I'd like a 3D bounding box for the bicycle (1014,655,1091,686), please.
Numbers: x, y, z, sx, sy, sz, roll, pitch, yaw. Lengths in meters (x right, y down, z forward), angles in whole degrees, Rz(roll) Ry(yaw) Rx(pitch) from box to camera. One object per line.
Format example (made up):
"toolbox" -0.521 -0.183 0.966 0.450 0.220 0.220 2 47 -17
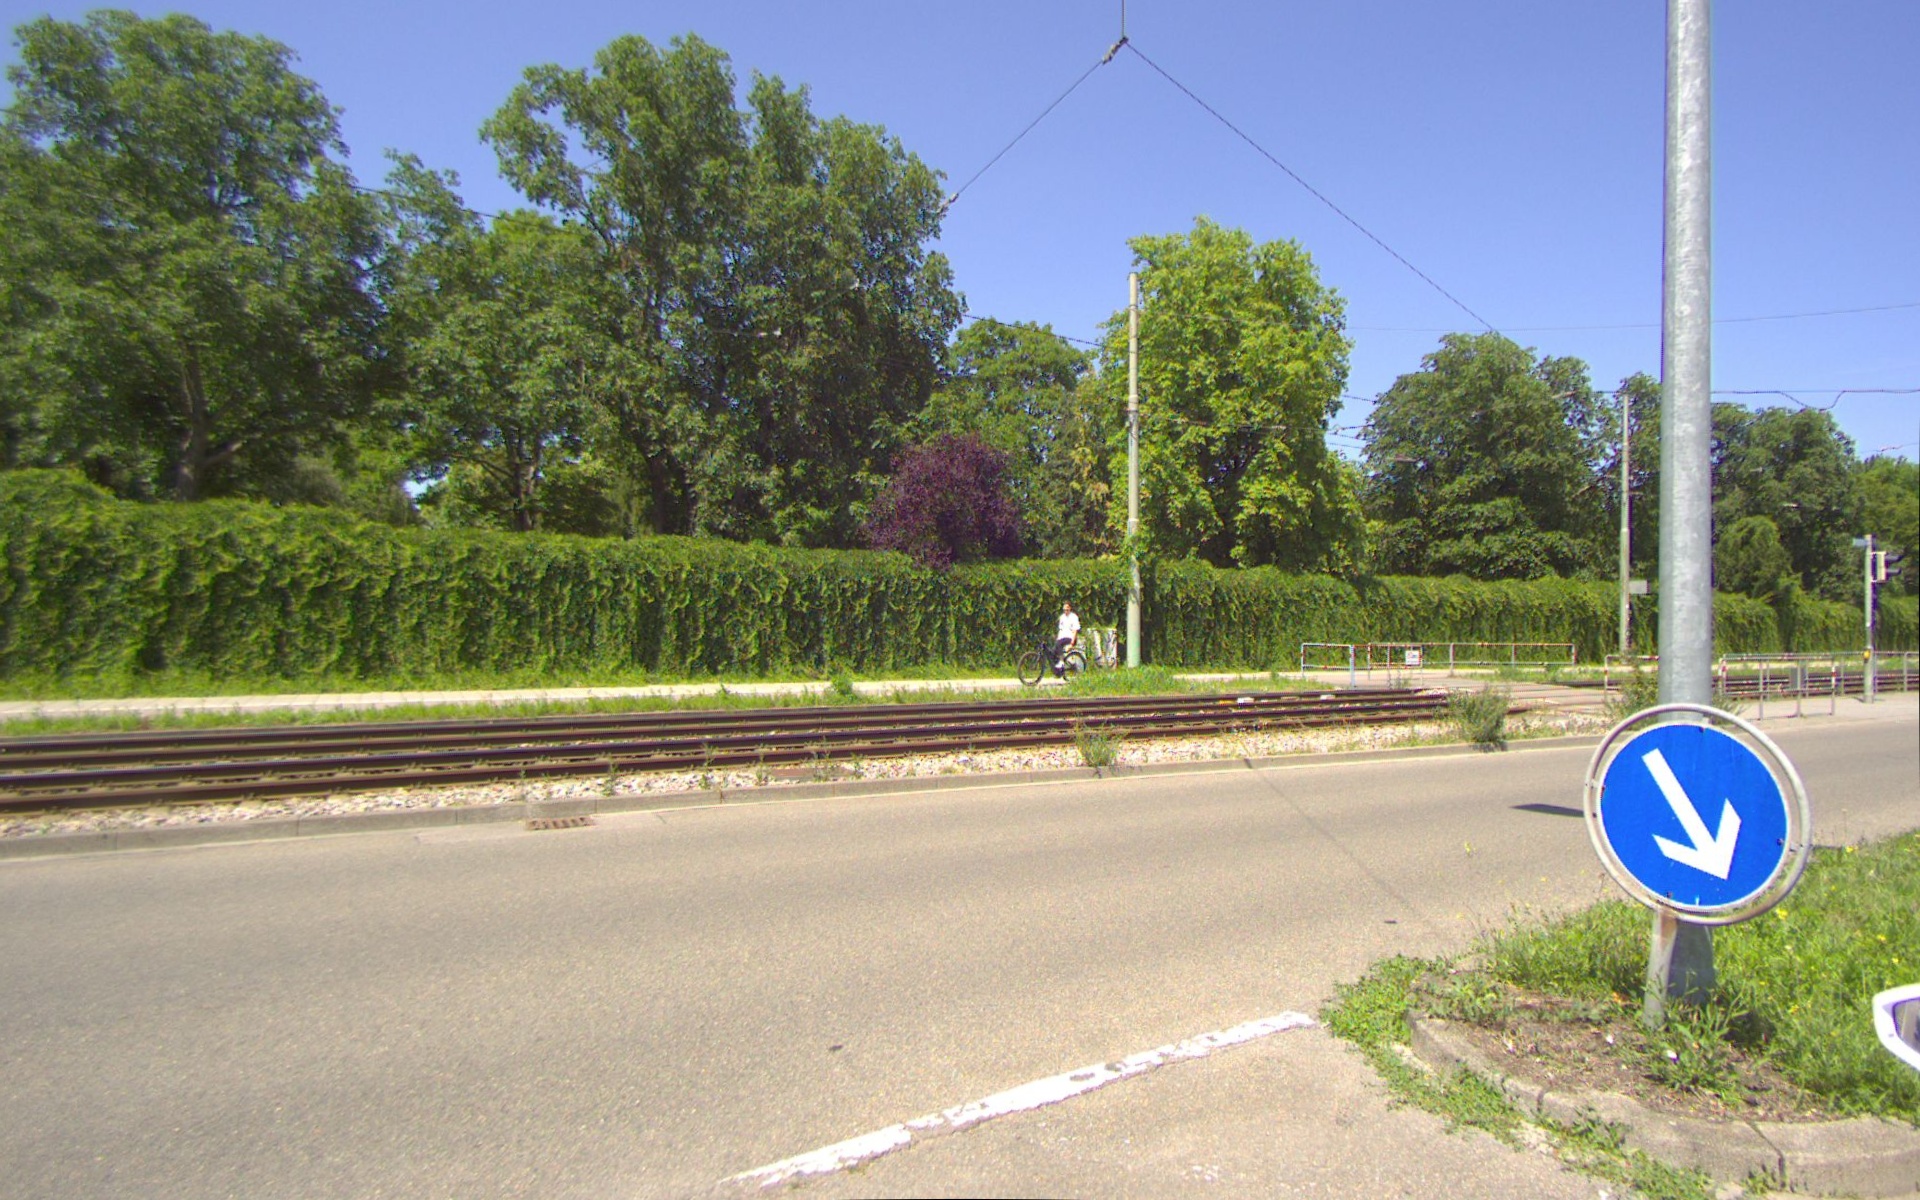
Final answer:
"bicycle" 2.061 1.555 22.297 1.699 0.656 0.558 1 -1 -29

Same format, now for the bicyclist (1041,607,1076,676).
"bicyclist" 2.192 0.923 22.373 0.554 1.497 0.555 1 -1 -29
